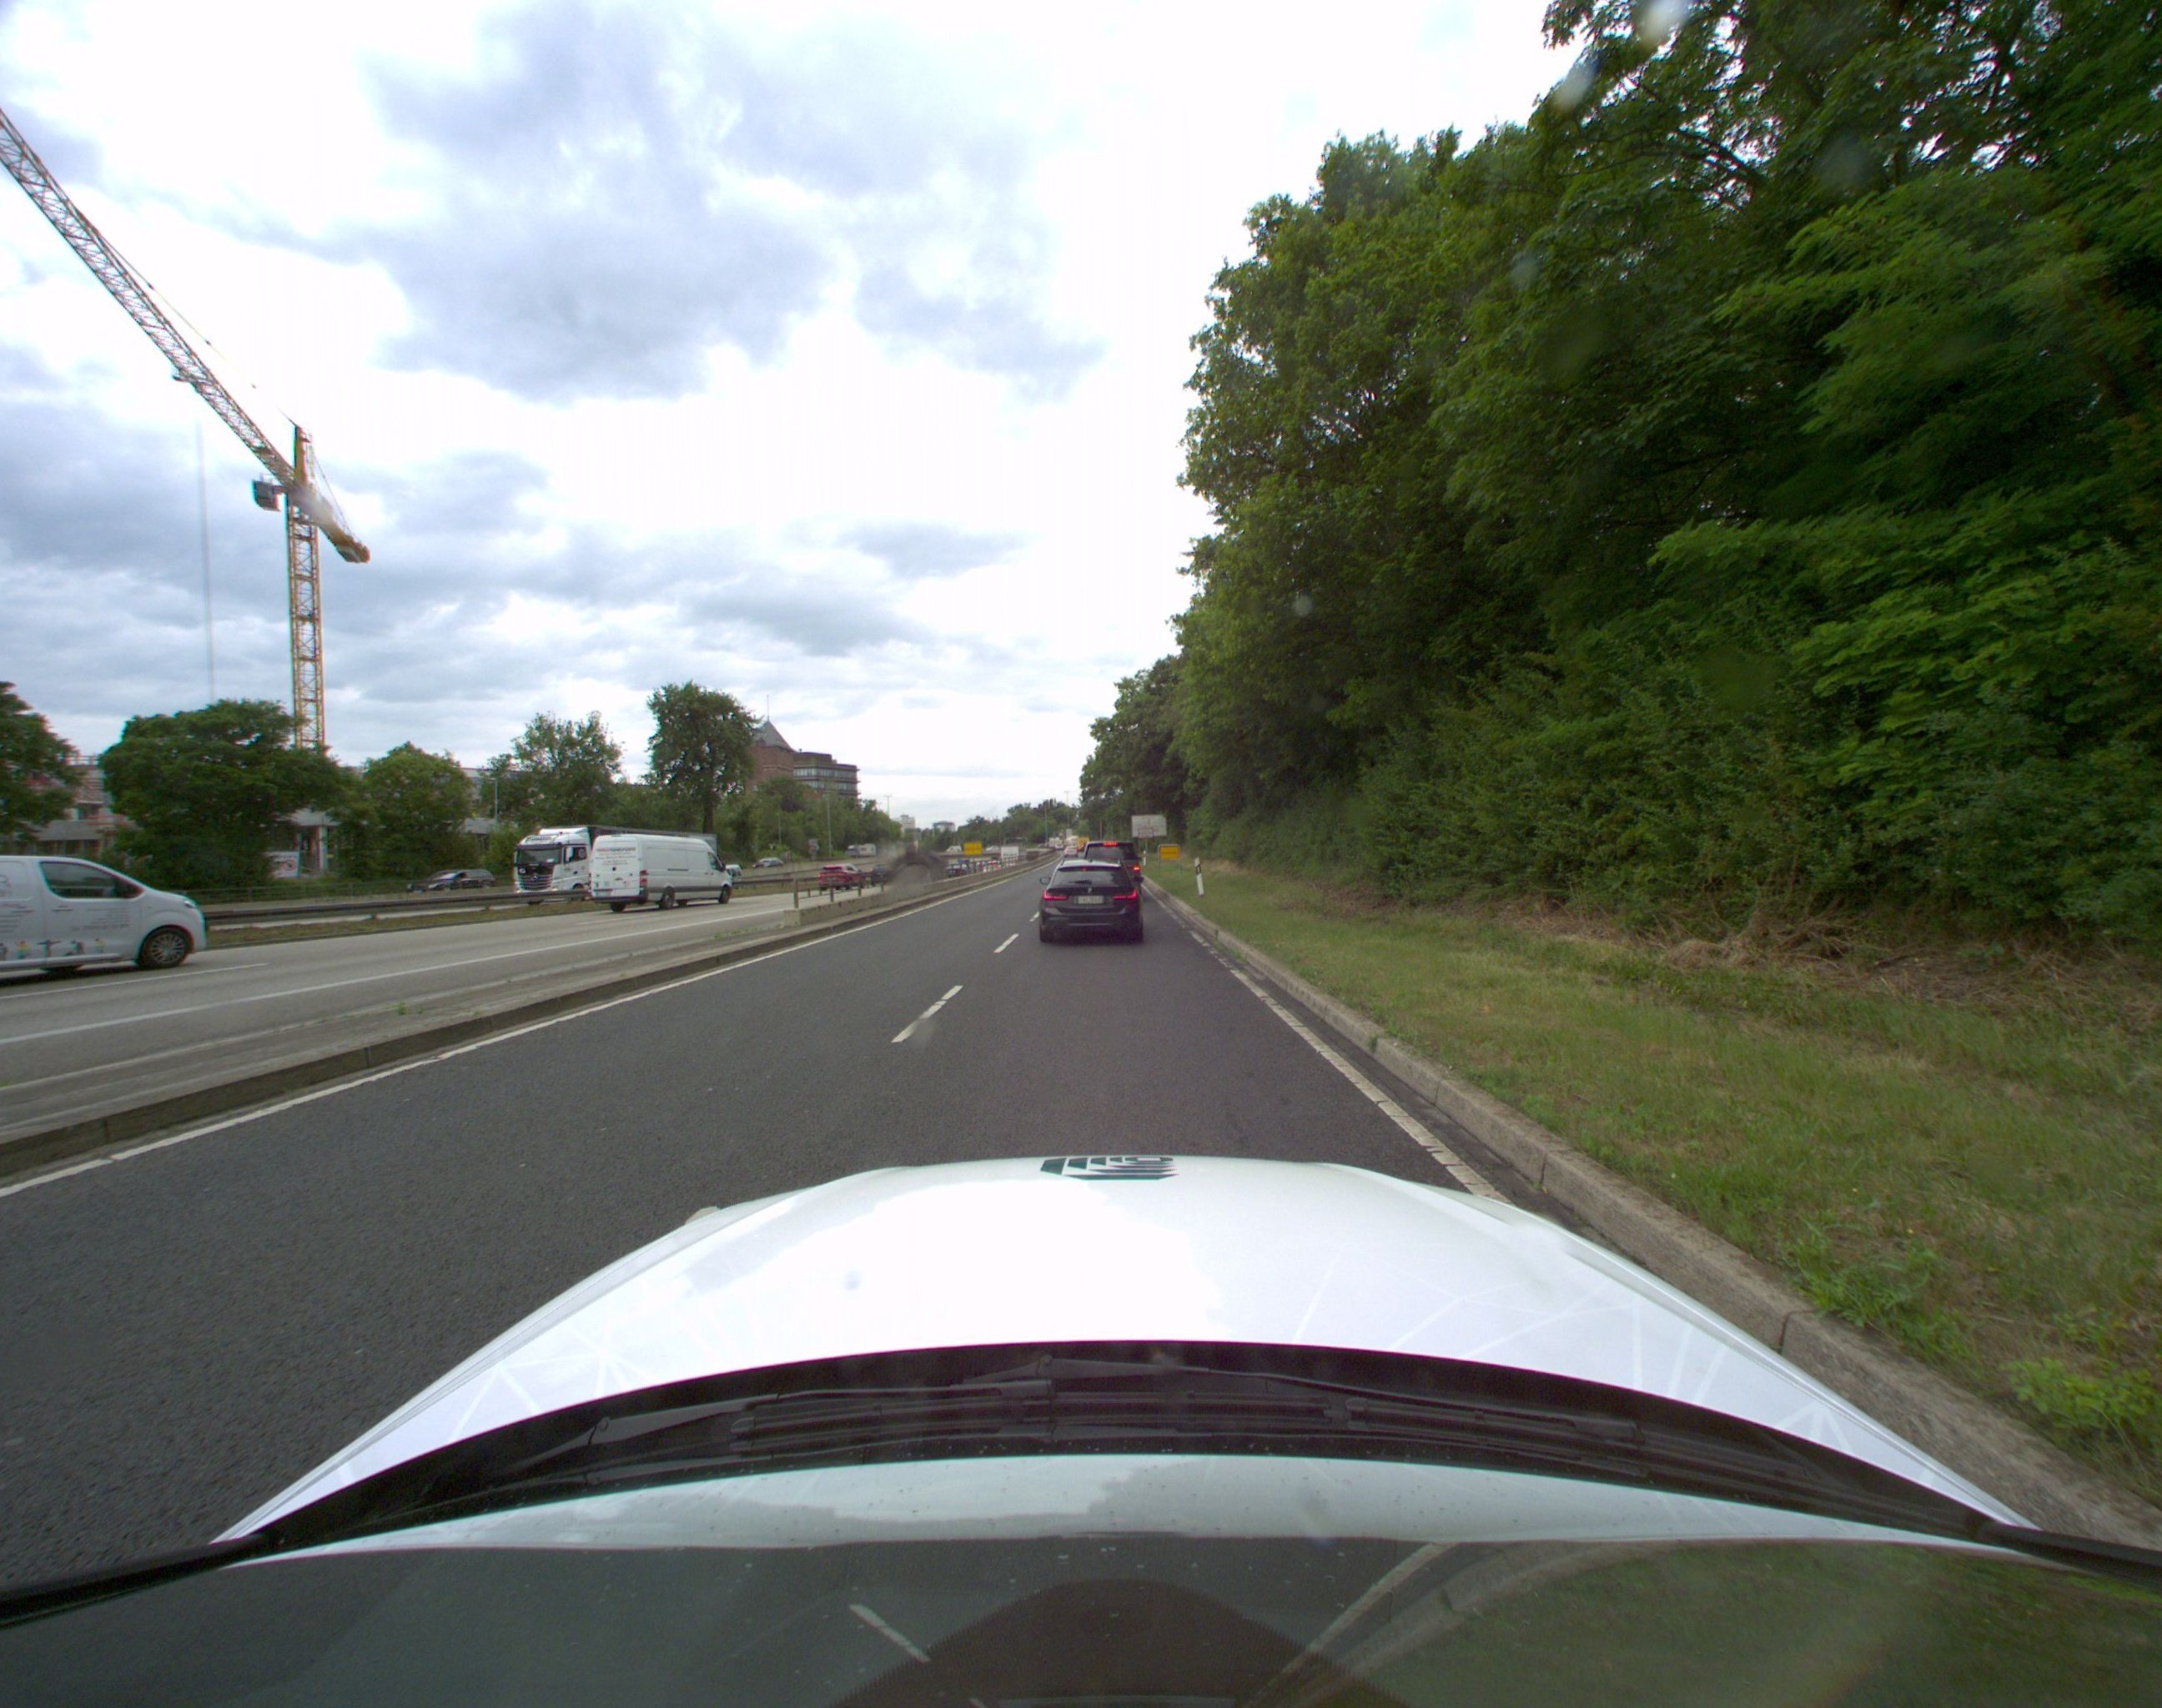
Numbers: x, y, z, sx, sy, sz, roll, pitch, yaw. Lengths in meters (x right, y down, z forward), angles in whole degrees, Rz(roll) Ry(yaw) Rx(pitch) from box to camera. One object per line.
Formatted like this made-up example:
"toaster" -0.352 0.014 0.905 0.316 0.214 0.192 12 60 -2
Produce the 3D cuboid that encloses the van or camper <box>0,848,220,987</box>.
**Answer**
"van or camper" -15.919 0.912 11.646 1.913 1.920 4.853 -2 0 2

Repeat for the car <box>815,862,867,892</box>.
"car" -14.903 1.364 50.715 1.884 1.681 4.306 -2 0 0

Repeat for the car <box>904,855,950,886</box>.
"car" -9.945 1.011 53.008 1.987 1.851 4.811 -1 0 0

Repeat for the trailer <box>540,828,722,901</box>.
"trailer" -26.856 0.556 50.113 2.581 3.758 14.732 -2 0 2

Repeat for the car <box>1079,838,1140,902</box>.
"car" 0.930 0.485 26.603 1.789 1.872 4.002 -1 0 2

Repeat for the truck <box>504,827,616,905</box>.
"truck" -27.067 0.588 42.583 2.583 3.768 4.779 -2 0 1

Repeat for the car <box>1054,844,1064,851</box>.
"car" -5.243 -1.472 190.318 1.929 1.596 3.868 -2 0 -7

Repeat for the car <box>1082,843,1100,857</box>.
"car" 1.102 -0.392 87.389 1.852 1.464 4.534 -1 0 1

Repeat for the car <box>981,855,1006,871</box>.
"car" -9.444 0.960 88.154 1.938 1.692 4.509 -2 0 2

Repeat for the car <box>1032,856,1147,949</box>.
"car" 0.140 0.794 15.286 1.840 1.467 3.999 -1 0 0

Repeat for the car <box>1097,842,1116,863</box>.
"car" 1.969 -0.133 63.043 1.447 1.540 3.226 -2 0 2

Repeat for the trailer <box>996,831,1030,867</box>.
"trailer" -9.475 -0.600 115.309 3.121 4.725 14.562 -1 0 1

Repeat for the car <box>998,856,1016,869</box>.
"car" -9.212 0.998 101.497 1.763 1.549 3.492 -2 0 0

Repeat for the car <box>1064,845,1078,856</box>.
"car" -1.323 -0.518 111.104 1.852 1.464 4.885 -1 0 1

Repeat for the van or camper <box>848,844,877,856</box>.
"van or camper" -45.945 -0.821 171.576 5.695 2.637 1.898 0 0 -43

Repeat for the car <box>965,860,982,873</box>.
"car" -14.426 1.665 109.191 1.682 1.632 3.734 0 0 0

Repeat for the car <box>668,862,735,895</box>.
"car" -22.584 1.422 48.605 1.986 1.765 4.002 -2 0 2

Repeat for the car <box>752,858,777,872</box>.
"car" -34.142 1.179 87.914 1.329 1.375 3.173 -2 0 0

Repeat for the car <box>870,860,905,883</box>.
"car" -14.618 1.283 61.807 1.682 1.608 4.008 0 0 0

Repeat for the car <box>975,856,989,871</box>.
"car" -14.792 1.400 122.059 1.438 2.044 3.682 -2 0 2

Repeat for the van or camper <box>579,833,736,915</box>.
"van or camper" -15.398 0.656 30.275 2.042 2.621 6.957 -2 0 1

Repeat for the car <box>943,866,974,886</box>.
"car" -10.030 1.773 66.979 1.706 1.456 4.669 -1 0 2
